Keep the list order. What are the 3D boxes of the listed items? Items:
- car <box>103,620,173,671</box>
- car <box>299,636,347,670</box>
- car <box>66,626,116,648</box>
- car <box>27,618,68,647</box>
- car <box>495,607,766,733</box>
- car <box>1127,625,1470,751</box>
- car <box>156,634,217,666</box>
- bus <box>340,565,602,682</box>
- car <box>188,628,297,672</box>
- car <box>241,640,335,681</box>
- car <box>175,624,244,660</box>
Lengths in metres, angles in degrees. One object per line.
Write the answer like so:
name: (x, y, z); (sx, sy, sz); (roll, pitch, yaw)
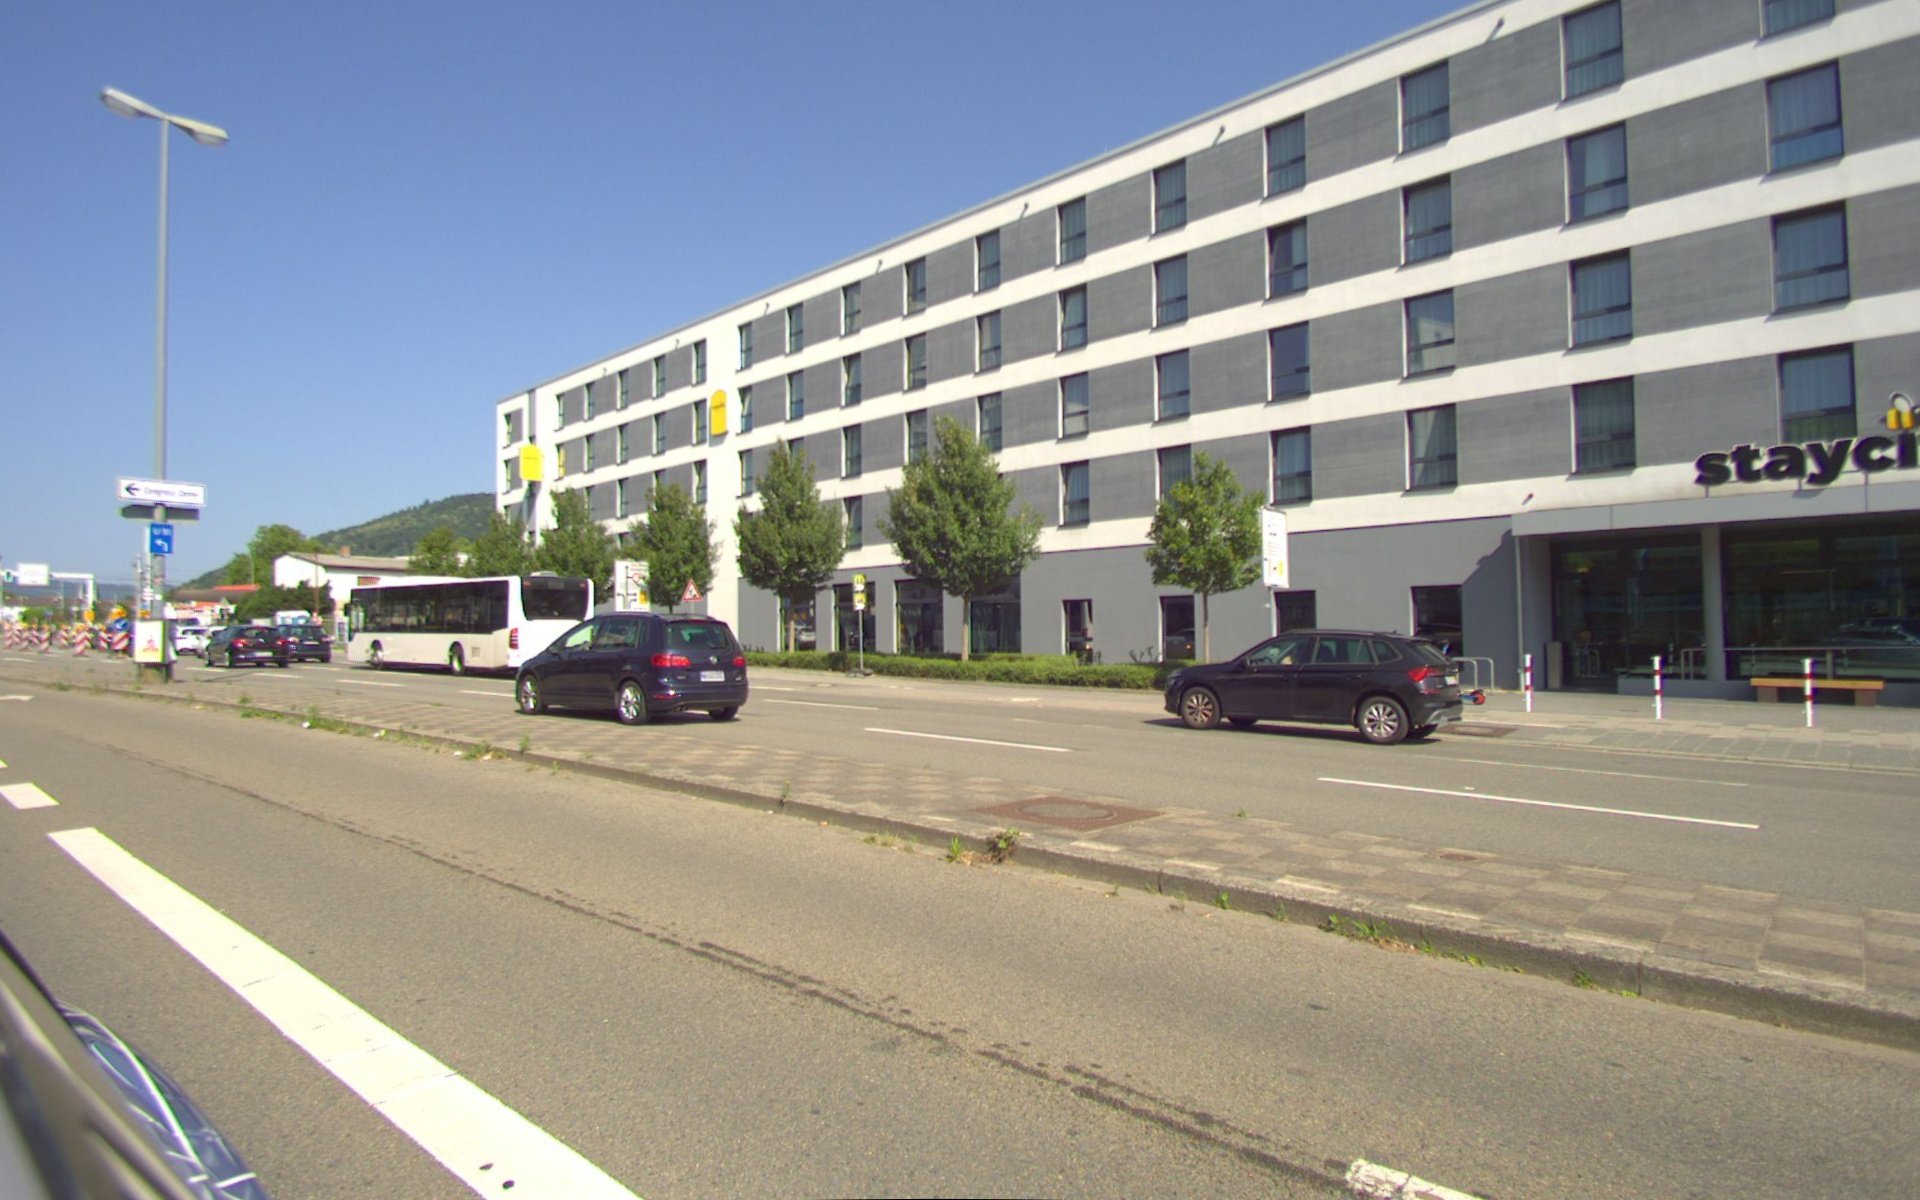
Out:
car: (-35.553, 1.912, 43.718); (4.162, 2.029, 1.658); (0, 0, 41)
car: (-24.950, 2.072, 39.615); (2.219, 1.216, 1.044); (0, 0, 42)
car: (-61.167, 2.582, 71.199); (4.888, 1.534, 1.973); (-1, -2, 41)
car: (-69.030, 2.419, 76.549); (4.000, 2.029, 1.972); (0, 0, 43)
car: (-4.991, 0.955, 15.134); (4.128, 1.630, 1.867); (-1, -2, 38)
car: (4.889, 1.171, 15.002); (4.411, 1.590, 1.972); (-1, -2, 42)
car: (-42.846, 2.744, 56.028); (3.584, 1.631, 1.699); (-1, -1, 36)
bus: (-15.764, 0.787, 31.890); (11.966, 3.102, 2.710); (-1, -4, 40)
car: (-25.197, 1.697, 35.457); (4.887, 1.443, 1.973); (-1, -2, 40)
car: (-27.709, 2.436, 41.674); (4.888, 1.534, 1.973); (-1, -2, 41)
car: (-33.294, 1.824, 44.856); (4.000, 1.462, 1.740); (0, 0, 43)
